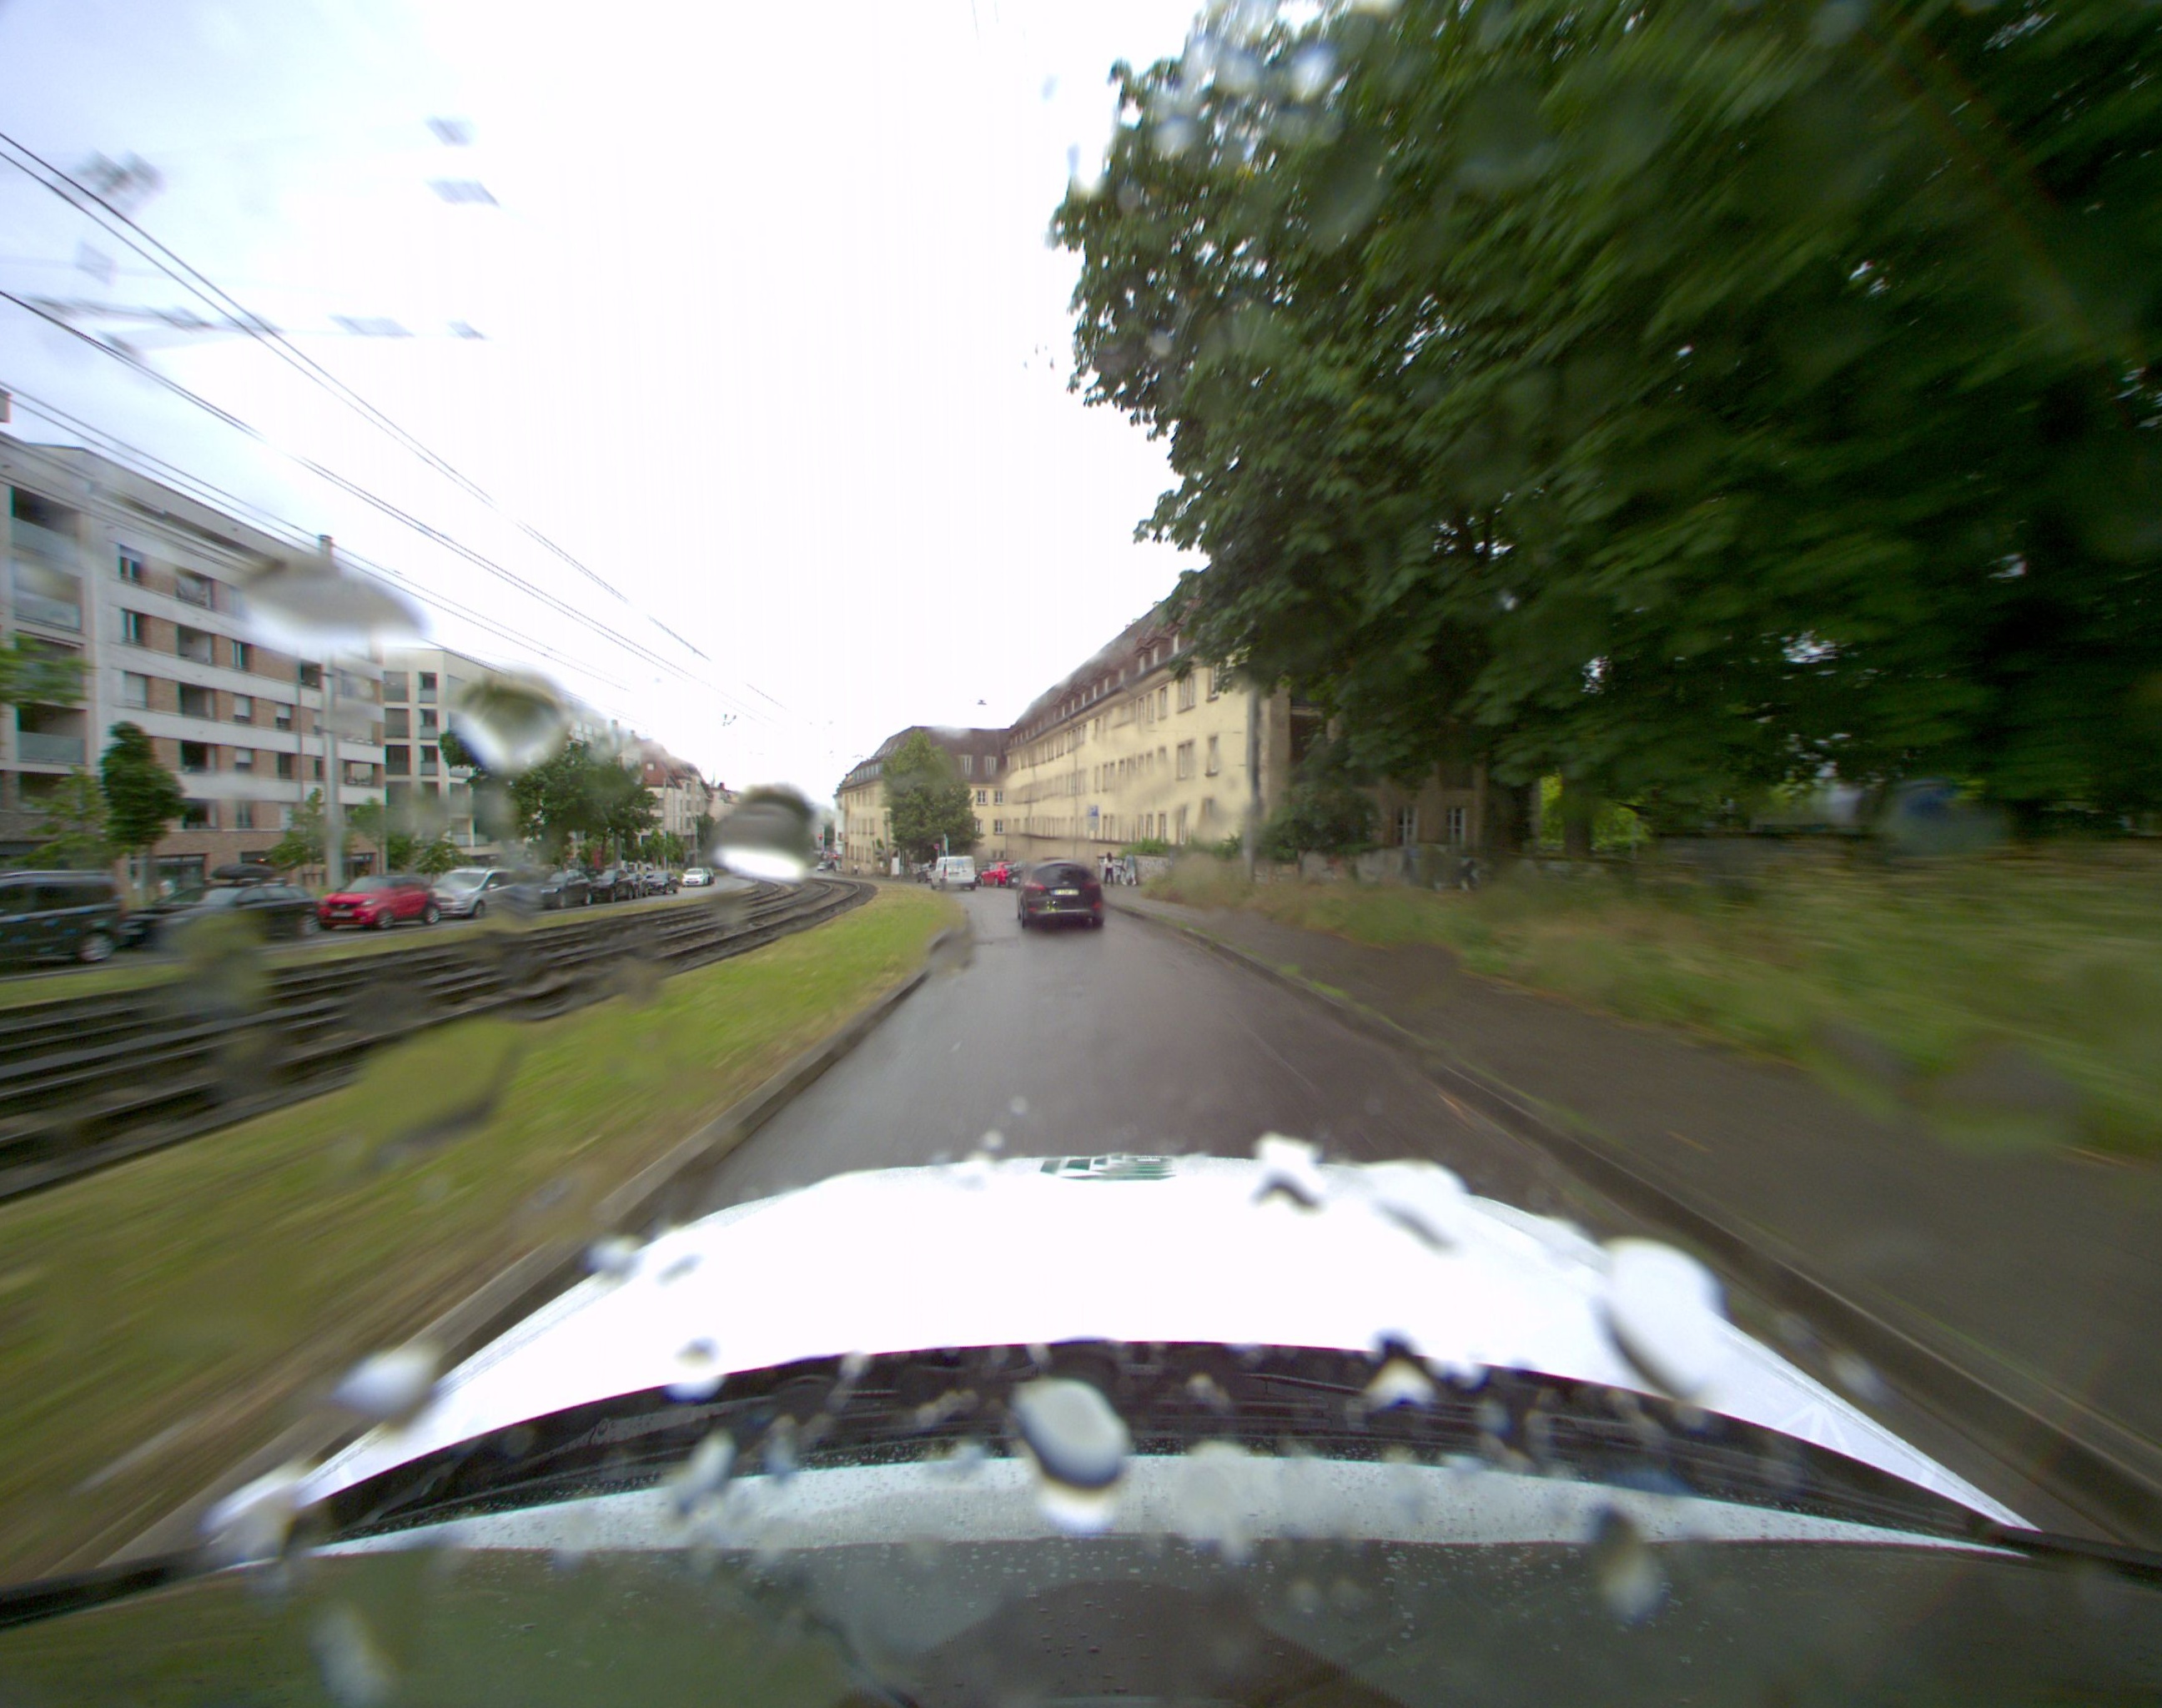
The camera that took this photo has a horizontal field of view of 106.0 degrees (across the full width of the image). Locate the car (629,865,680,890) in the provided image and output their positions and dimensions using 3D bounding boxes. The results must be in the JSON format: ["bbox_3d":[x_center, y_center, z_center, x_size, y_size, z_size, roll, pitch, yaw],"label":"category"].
[{"bbox_3d":[-26.208,1.393,50.168,1.970,1.431,4.177,0,0,-16],"label":"car"}]

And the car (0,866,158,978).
[{"bbox_3d":[-19.347,1.180,14.368,1.580,1.859,4.321,1,0,-8],"label":"car"}]

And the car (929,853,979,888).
[{"bbox_3d":[-7.064,0.864,44.986,2.142,1.745,4.194,-2,1,-17],"label":"car"}]

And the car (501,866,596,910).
[{"bbox_3d":[-22.262,1.367,34.252,1.732,1.644,4.515,0,0,-11],"label":"car"}]

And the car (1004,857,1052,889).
[{"bbox_3d":[-2.946,1.015,44.330,1.670,1.573,3.832,-3,0,-18],"label":"car"}]

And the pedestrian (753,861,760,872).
[{"bbox_3d":[-56.554,2.114,141.885,0.910,1.931,0.817,-1,0,-29],"label":"pedestrian"}]

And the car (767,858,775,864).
[{"bbox_3d":[-84.354,1.825,221.541,2.000,1.662,3.973,-1,0,-20],"label":"car"}]

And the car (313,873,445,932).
[{"bbox_3d":[-20.575,1.383,24.017,1.466,1.531,2.927,1,0,-4],"label":"car"}]

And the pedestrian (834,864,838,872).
[{"bbox_3d":[-40.566,2.248,134.820,0.511,1.315,0.502,-1,0,-23],"label":"pedestrian"}]

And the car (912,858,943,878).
[{"bbox_3d":[-12.224,1.079,64.711,1.672,1.524,4.079,-3,1,-22],"label":"car"}]

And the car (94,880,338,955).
[{"bbox_3d":[-20.371,1.410,19.502,1.549,1.447,4.388,0,0,-8],"label":"car"}]

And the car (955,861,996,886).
[{"bbox_3d":[-7.063,1.260,54.196,1.672,1.476,4.425,-3,1,-22],"label":"car"}]

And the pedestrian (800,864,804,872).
[{"bbox_3d":[-47.321,2.350,138.182,0.511,1.315,0.502,-1,0,-23],"label":"pedestrian"}]

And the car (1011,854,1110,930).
[{"bbox_3d":[-0.602,0.799,19.124,1.918,1.479,3.990,-2,1,-7],"label":"car"}]

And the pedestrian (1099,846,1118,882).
[{"bbox_3d":[1.356,0.487,40.212,0.718,1.754,0.736,-2,0,-13],"label":"pedestrian"}]

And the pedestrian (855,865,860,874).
[{"bbox_3d":[-30.730,2.113,112.033,0.507,1.315,0.507,-1,0,-25],"label":"pedestrian"}]

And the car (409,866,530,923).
[{"bbox_3d":[-21.473,1.354,28.814,1.663,1.747,4.242,-1,0,-10],"label":"car"}]

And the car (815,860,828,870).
[{"bbox_3d":[-49.730,2.128,156.223,1.996,1.772,3.981,-1,0,-14],"label":"car"}]

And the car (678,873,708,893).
[{"bbox_3d":[-32.598,2.388,68.484,1.770,1.479,3.712,-2,0,-17],"label":"car"}]

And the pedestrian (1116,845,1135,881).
[{"bbox_3d":[2.206,0.462,40.523,0.718,1.754,0.736,-2,0,-13],"label":"pedestrian"}]

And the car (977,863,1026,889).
[{"bbox_3d":[-4.844,1.297,49.411,1.674,1.476,4.032,0,0,-26],"label":"car"}]

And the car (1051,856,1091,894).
[{"bbox_3d":[-0.480,0.869,35.256,1.594,1.465,2.718,-2,1,-3],"label":"car"}]

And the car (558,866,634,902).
[{"bbox_3d":[-23.545,1.405,39.719,1.805,1.583,4.677,-1,0,-13],"label":"car"}]
